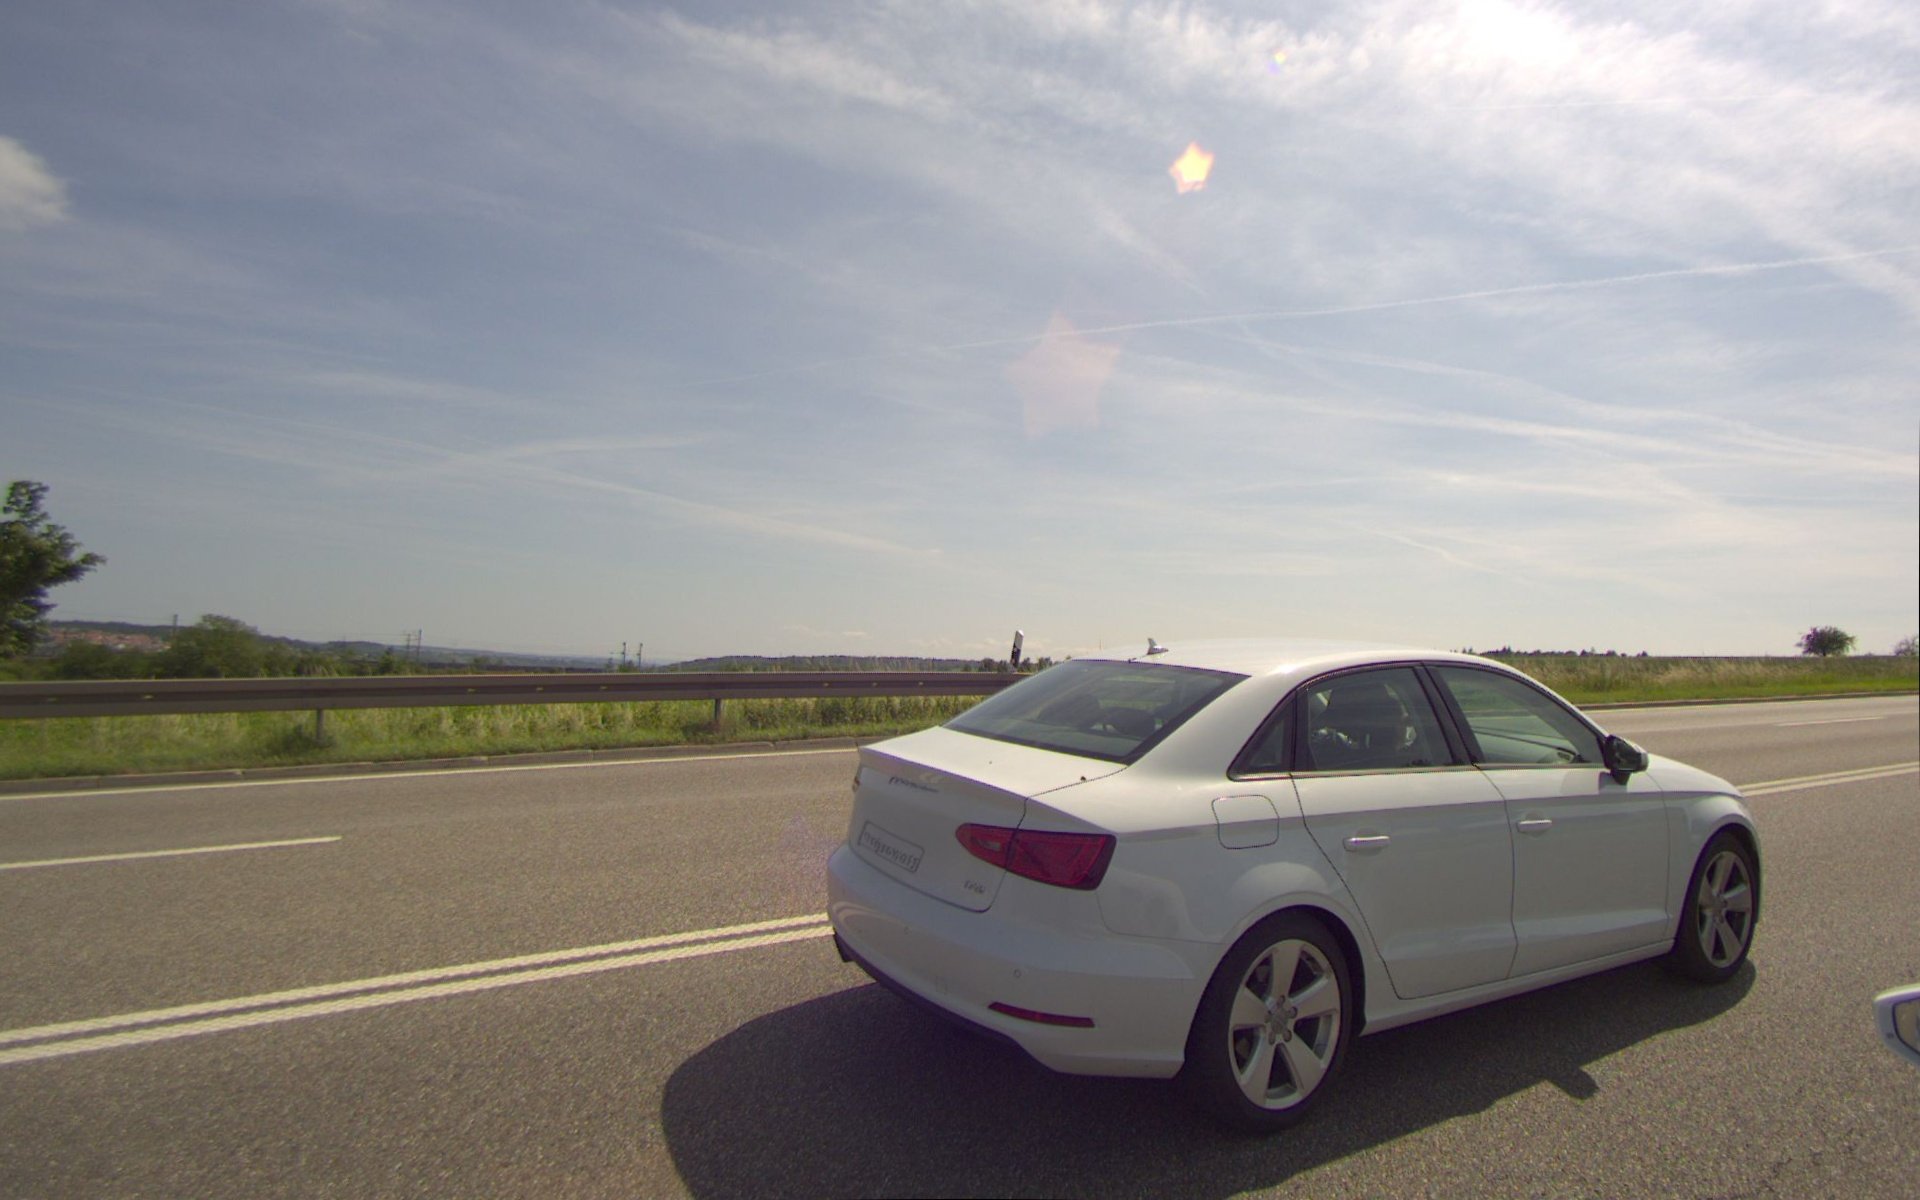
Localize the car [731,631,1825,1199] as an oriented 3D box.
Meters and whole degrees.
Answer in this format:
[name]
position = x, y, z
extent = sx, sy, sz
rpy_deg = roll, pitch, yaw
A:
[car]
position = 1.538, 0.860, 4.146
extent = 4.549, 1.394, 1.695
rpy_deg = 1, -1, -30
